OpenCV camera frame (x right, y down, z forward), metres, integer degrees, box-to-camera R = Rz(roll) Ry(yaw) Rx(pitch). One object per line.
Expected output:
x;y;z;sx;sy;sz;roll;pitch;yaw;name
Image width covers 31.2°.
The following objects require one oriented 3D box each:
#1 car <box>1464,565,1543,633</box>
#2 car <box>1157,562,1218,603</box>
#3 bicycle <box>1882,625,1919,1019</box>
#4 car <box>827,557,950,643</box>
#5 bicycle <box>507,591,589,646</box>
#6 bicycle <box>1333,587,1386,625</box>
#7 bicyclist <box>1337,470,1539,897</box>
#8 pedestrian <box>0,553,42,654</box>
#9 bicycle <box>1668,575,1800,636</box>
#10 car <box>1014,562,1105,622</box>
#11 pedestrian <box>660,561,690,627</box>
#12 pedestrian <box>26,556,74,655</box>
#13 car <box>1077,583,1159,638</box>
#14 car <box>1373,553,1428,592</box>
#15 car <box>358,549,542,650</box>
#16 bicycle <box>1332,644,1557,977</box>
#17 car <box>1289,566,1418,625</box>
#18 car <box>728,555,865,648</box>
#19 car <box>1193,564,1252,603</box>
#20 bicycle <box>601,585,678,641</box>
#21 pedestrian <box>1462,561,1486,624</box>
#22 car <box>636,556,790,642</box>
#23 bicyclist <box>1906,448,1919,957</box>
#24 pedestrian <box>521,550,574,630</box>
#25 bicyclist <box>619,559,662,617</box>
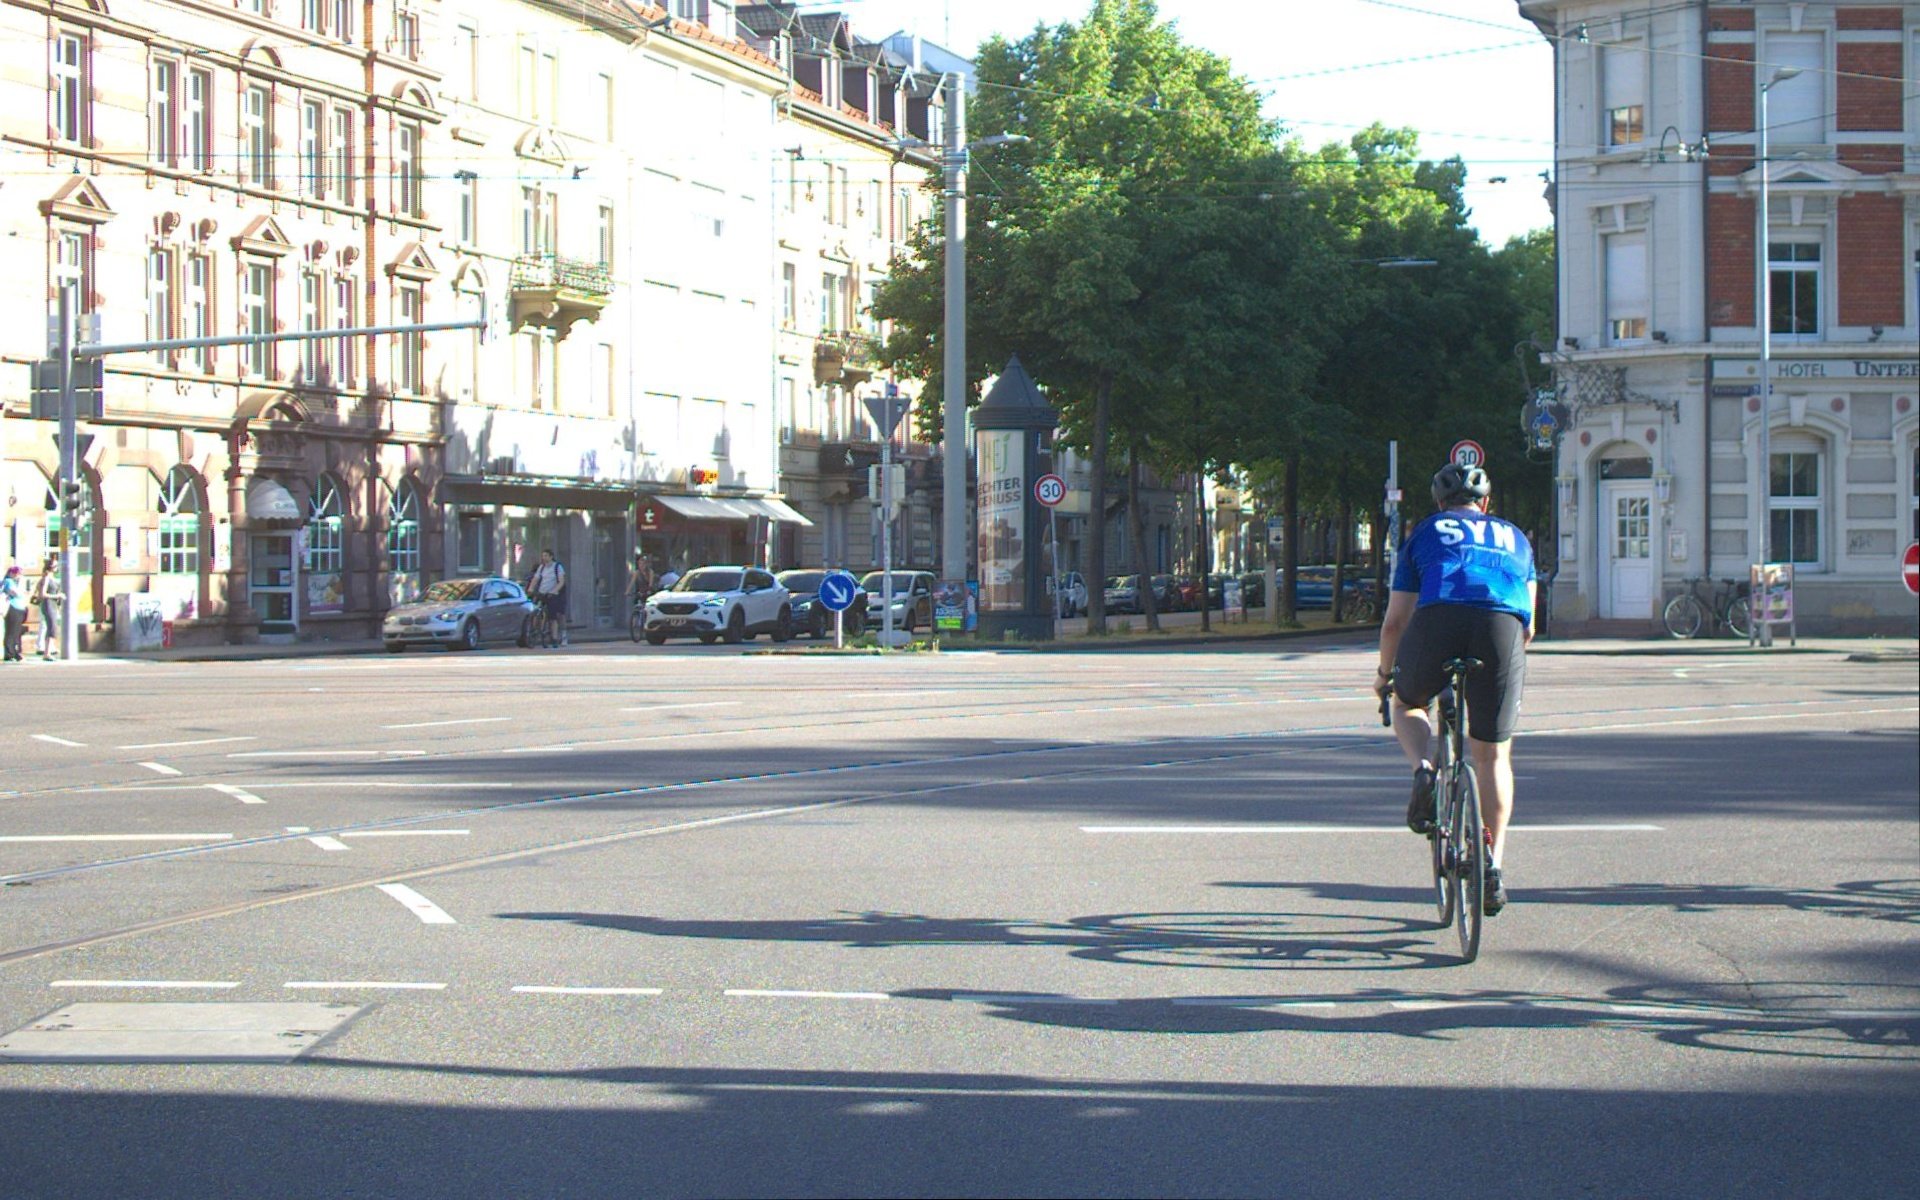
13.069;-0.038;82.589;1.692;1.559;3.839;1;1;11;car
8.753;-0.670;131.999;1.560;1.508;3.653;1;1;17;car
3.398;0.713;10.632;0.755;1.232;1.702;1;1;5;bicycle
-1.623;-0.017;79.796;1.994;1.897;3.998;1;1;11;car
-7.814;0.339;65.285;0.763;1.004;2.395;1;1;13;bicycle
11.507;0.169;99.068;0.626;1.081;1.703;1;1;-31;bicycle
1.727;0.278;12.517;0.639;1.489;0.883;1;2;4;bicyclist
-15.332;0.055;55.904;0.633;1.628;0.701;1;0;-4;pedestrian
12.839;0.088;57.071;2.049;0.994;0.630;0;0;3;bicycle
3.283;-0.278;112.701;1.995;1.897;3.997;1;1;17;car
-7.086;-0.151;85.428;0.544;1.626;0.706;1;0;13;pedestrian
-15.135;0.091;57.209;0.633;1.628;0.701;1;0;-4;pedestrian
5.659;0.346;122.633;1.995;1.897;3.997;1;1;17;car
17.265;-1.069;134.641;1.560;1.508;3.653;1;1;17;car
-9.912;-0.027;67.133;1.995;1.897;3.997;1;1;17;car
1.729;0.722;12.483;0.626;1.081;1.703;1;1;2;bicycle
13.164;-0.164;114.971;3.990;1.897;1.998;1;0;16;car
-3.472;0.019;73.661;1.994;1.897;3.998;1;1;11;car
10.419;-0.656;136.073;1.560;1.508;3.653;1;1;17;car
-6.634;0.260;71.227;0.651;1.119;2.250;1;1;21;bicycle
14.797;-0.224;99.020;0.640;1.790;0.490;1;0;12;pedestrian
-4.808;-0.035;67.404;1.994;1.612;3.998;1;1;11;car
3.406;0.327;10.538;0.806;1.601;0.883;1;0;5;bicyclist
-7.828;-0.188;65.206;0.821;1.507;0.598;1;0;15;pedestrian
-6.618;-0.256;71.223;0.632;1.181;0.684;1;0;21;bicyclist
